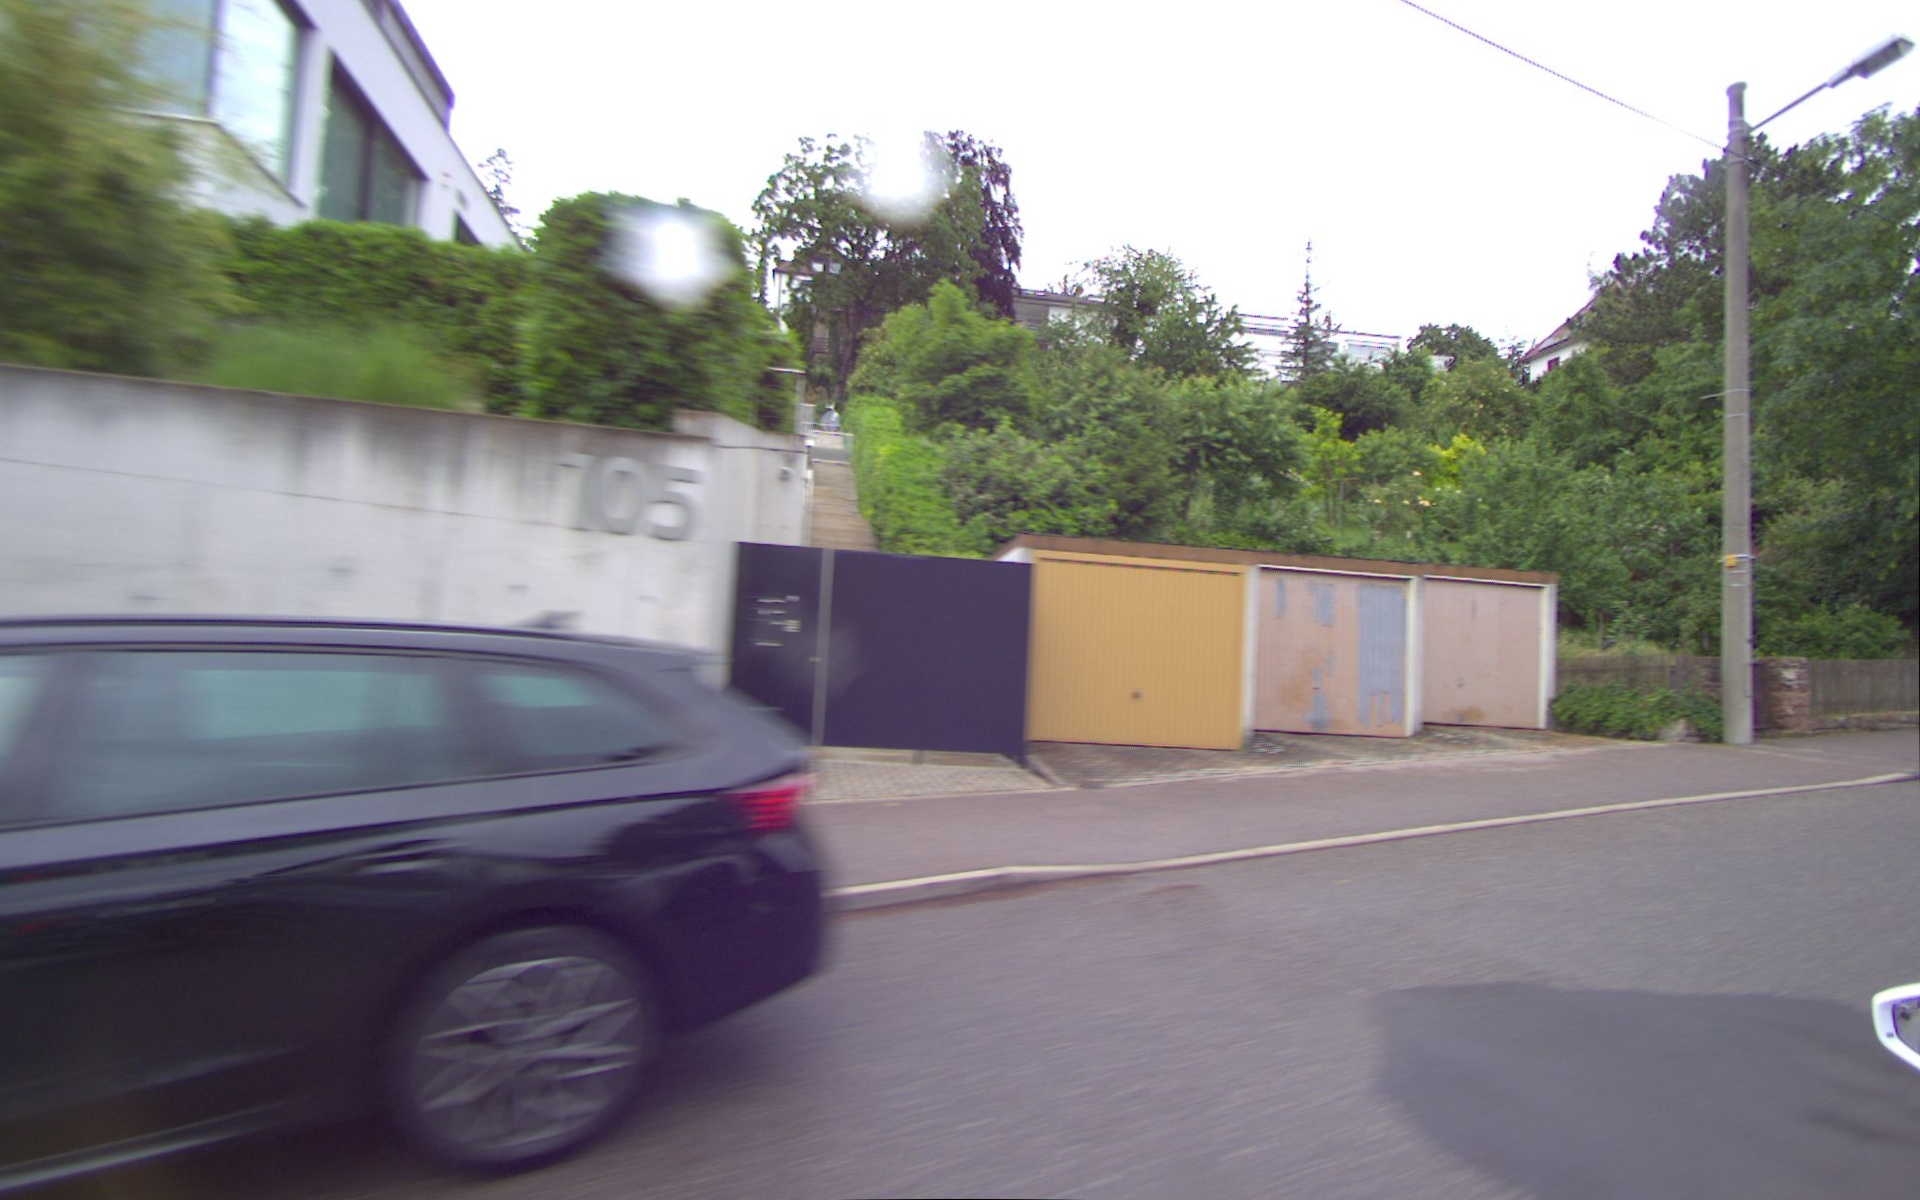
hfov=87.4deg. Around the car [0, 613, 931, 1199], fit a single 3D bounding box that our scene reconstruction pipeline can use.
[{"bbox_3d":[-2.502,0.780,2.758,4.629,1.478,1.704,2,-2,-32],"label":"car"}]
